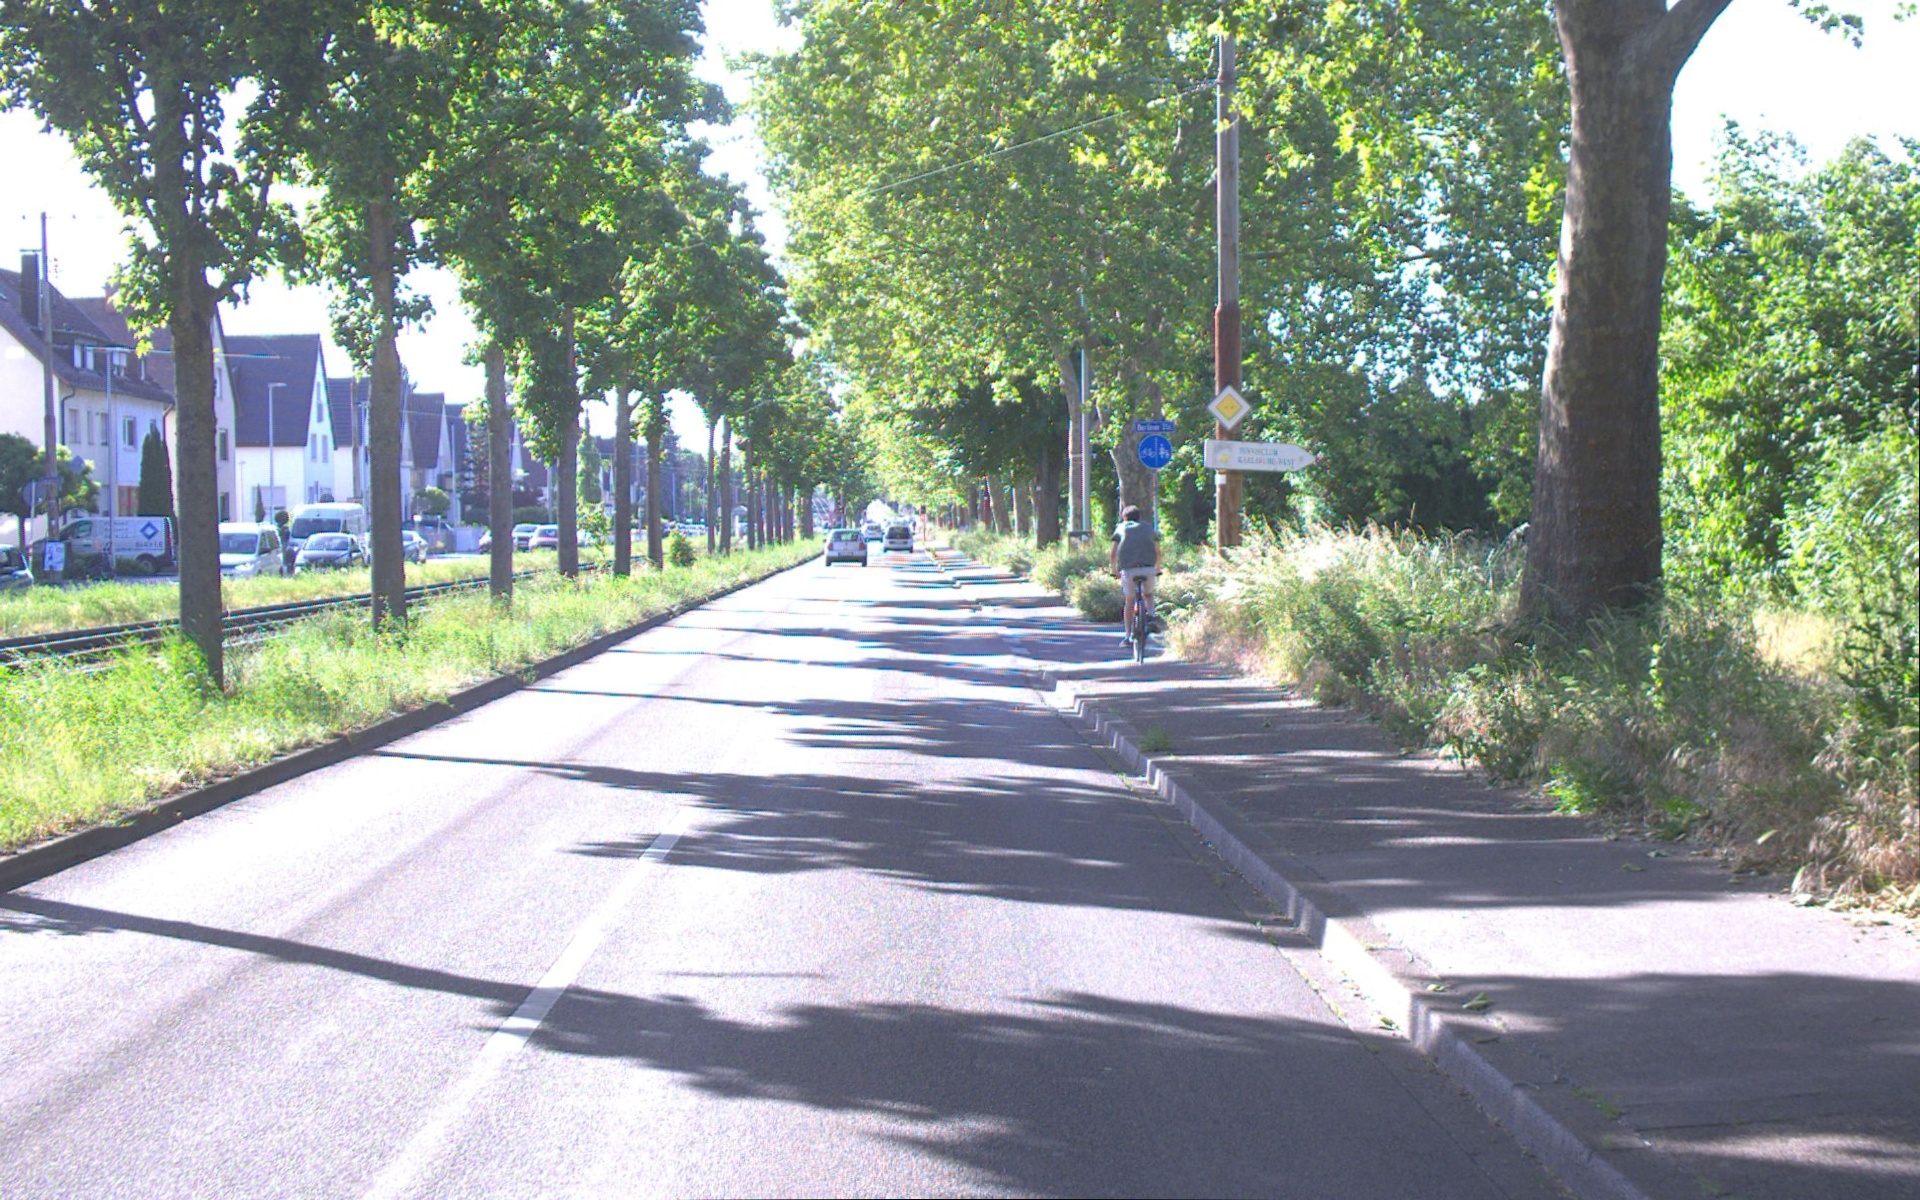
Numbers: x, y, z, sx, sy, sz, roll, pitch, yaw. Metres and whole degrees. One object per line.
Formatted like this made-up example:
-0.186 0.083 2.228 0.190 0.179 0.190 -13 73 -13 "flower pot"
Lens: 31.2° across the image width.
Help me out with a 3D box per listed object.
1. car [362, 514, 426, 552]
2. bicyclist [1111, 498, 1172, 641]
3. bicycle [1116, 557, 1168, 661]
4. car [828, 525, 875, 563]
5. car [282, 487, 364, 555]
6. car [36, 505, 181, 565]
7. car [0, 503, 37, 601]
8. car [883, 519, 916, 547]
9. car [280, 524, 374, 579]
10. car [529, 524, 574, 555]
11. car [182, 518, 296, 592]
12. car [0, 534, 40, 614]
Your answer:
-24.496 -2.902 148.926 1.993 1.576 4.498 2 1 0 "car"
2.097 -0.357 39.756 0.613 1.623 0.909 -1 1 -1 "bicyclist"
2.100 0.090 39.768 0.440 1.149 1.823 -1 1 -1 "bicycle"
-4.163 -2.157 132.091 1.738 1.396 3.277 2 1 -1 "car"
-24.174 -2.969 130.718 1.993 2.451 6.675 2 1 -1 "car"
-28.649 -2.176 115.813 4.616 1.939 2.001 1 1 -11 "car"
-27.715 -1.325 88.983 7.064 2.498 2.331 1 1 -5 "car"
-3.334 -3.691 190.037 1.761 1.508 3.277 2 1 0 "car"
-18.438 -1.434 100.327 1.993 1.526 3.751 -1 1 0 "car"
-19.330 -2.892 162.925 1.676 1.405 4.000 -1 1 -1 "car"
-17.845 -1.109 85.277 1.810 1.738 4.982 2 1 -1 "car"
-17.542 -0.485 60.802 1.557 1.390 3.821 2 1 -1 "car"
